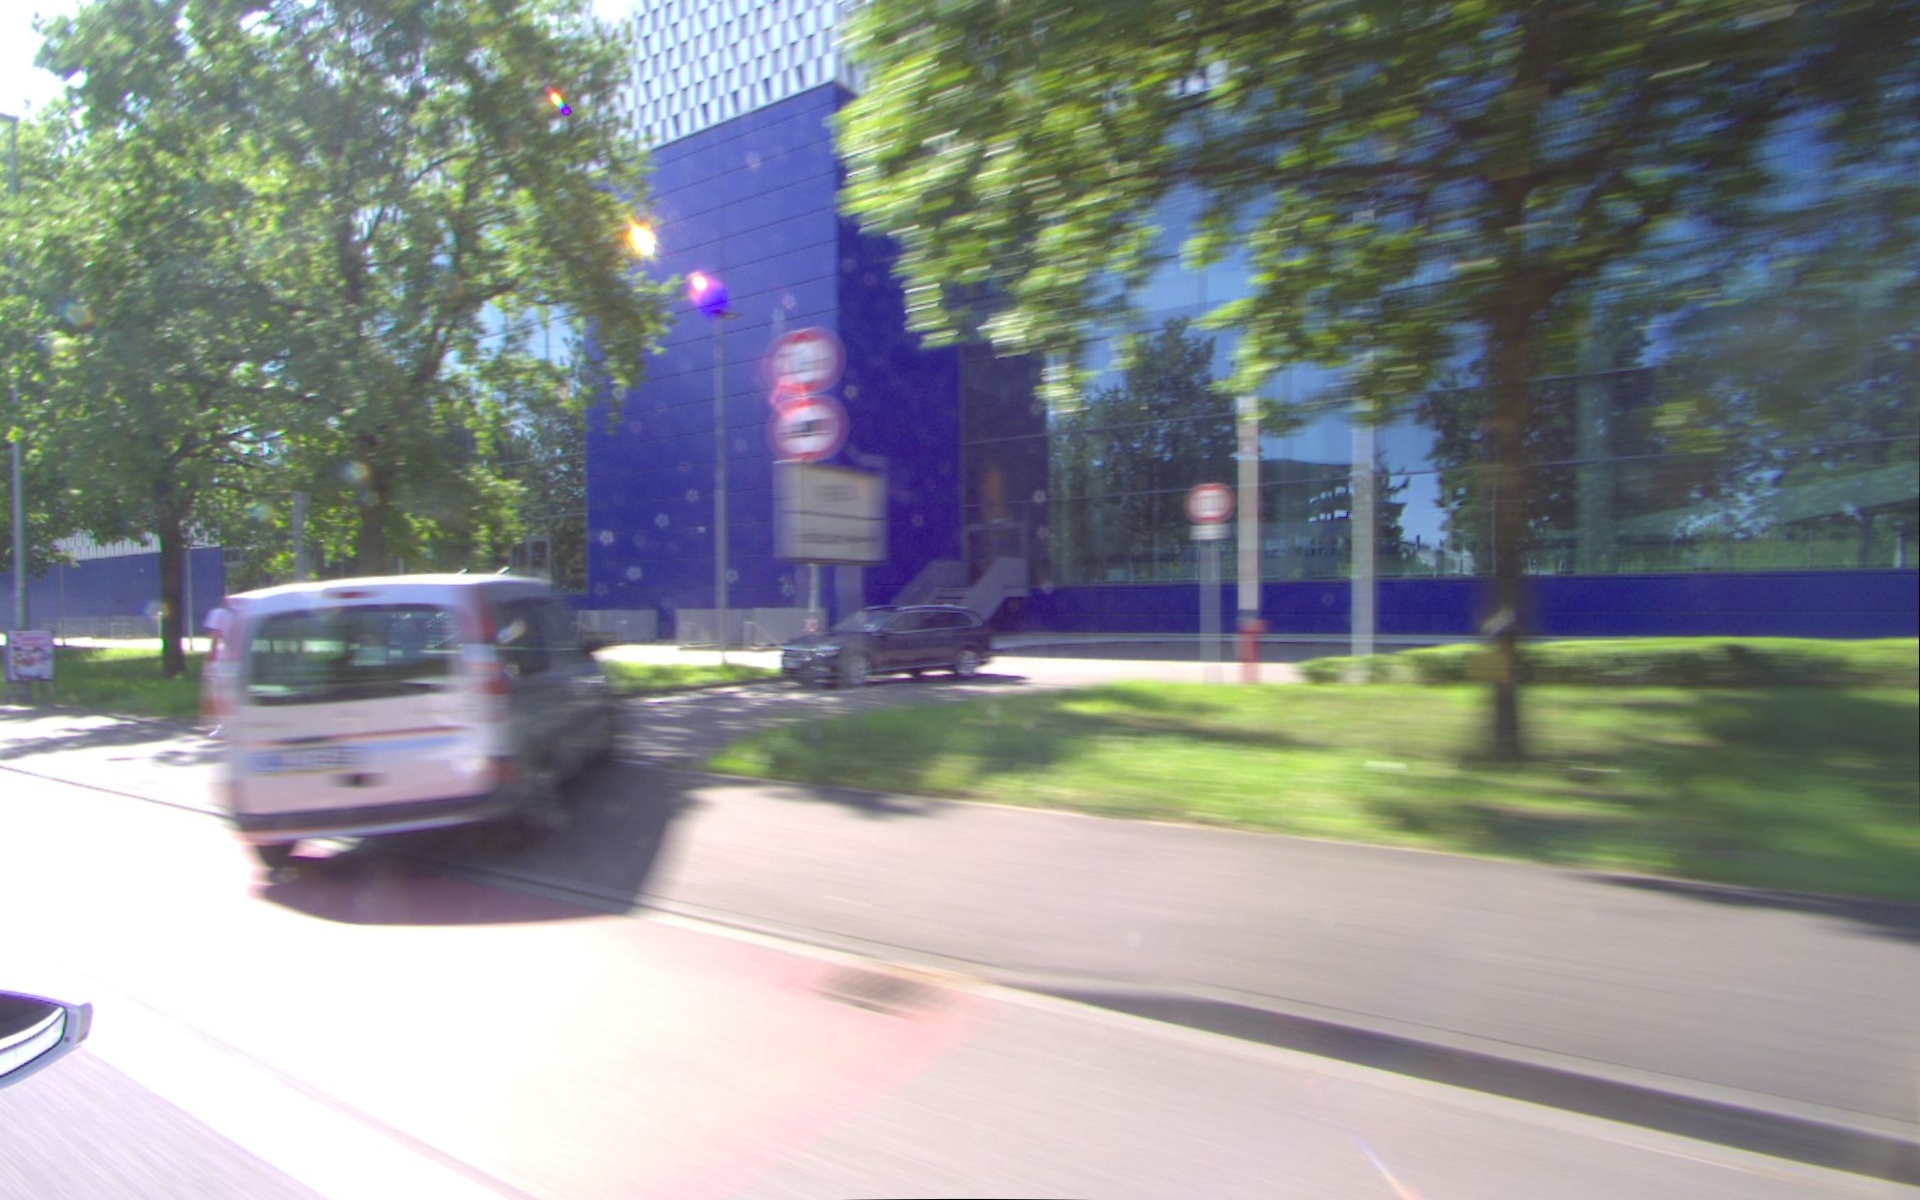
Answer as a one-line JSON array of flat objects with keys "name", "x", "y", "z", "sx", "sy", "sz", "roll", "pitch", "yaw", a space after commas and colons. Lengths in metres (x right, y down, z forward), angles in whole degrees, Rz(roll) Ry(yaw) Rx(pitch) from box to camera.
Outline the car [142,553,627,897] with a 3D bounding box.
[{"name": "car", "x": -3.843, "y": 0.687, "z": 7.629, "sx": 1.876, "sy": 1.853, "sz": 4.177, "roll": -1, "pitch": 0, "yaw": -10}]

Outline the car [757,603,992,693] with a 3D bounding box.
[{"name": "car", "x": -1.577, "y": 0.851, "z": 19.565, "sx": 4.329, "sy": 1.540, "sz": 1.894, "roll": 0, "pitch": 0, "yaw": -43}]

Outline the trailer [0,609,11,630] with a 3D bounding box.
[{"name": "trailer", "x": -118.496, "y": 2.158, "z": 116.276, "sx": 1.973, "sy": 2.501, "sz": 11.841, "roll": 1, "pitch": -2, "yaw": 35}]

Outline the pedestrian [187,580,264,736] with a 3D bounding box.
[{"name": "pedestrian", "x": -9.045, "y": 0.695, "z": 12.333, "sx": 0.717, "sy": 1.866, "sz": 0.534, "roll": 0, "pitch": 1, "yaw": 33}]
